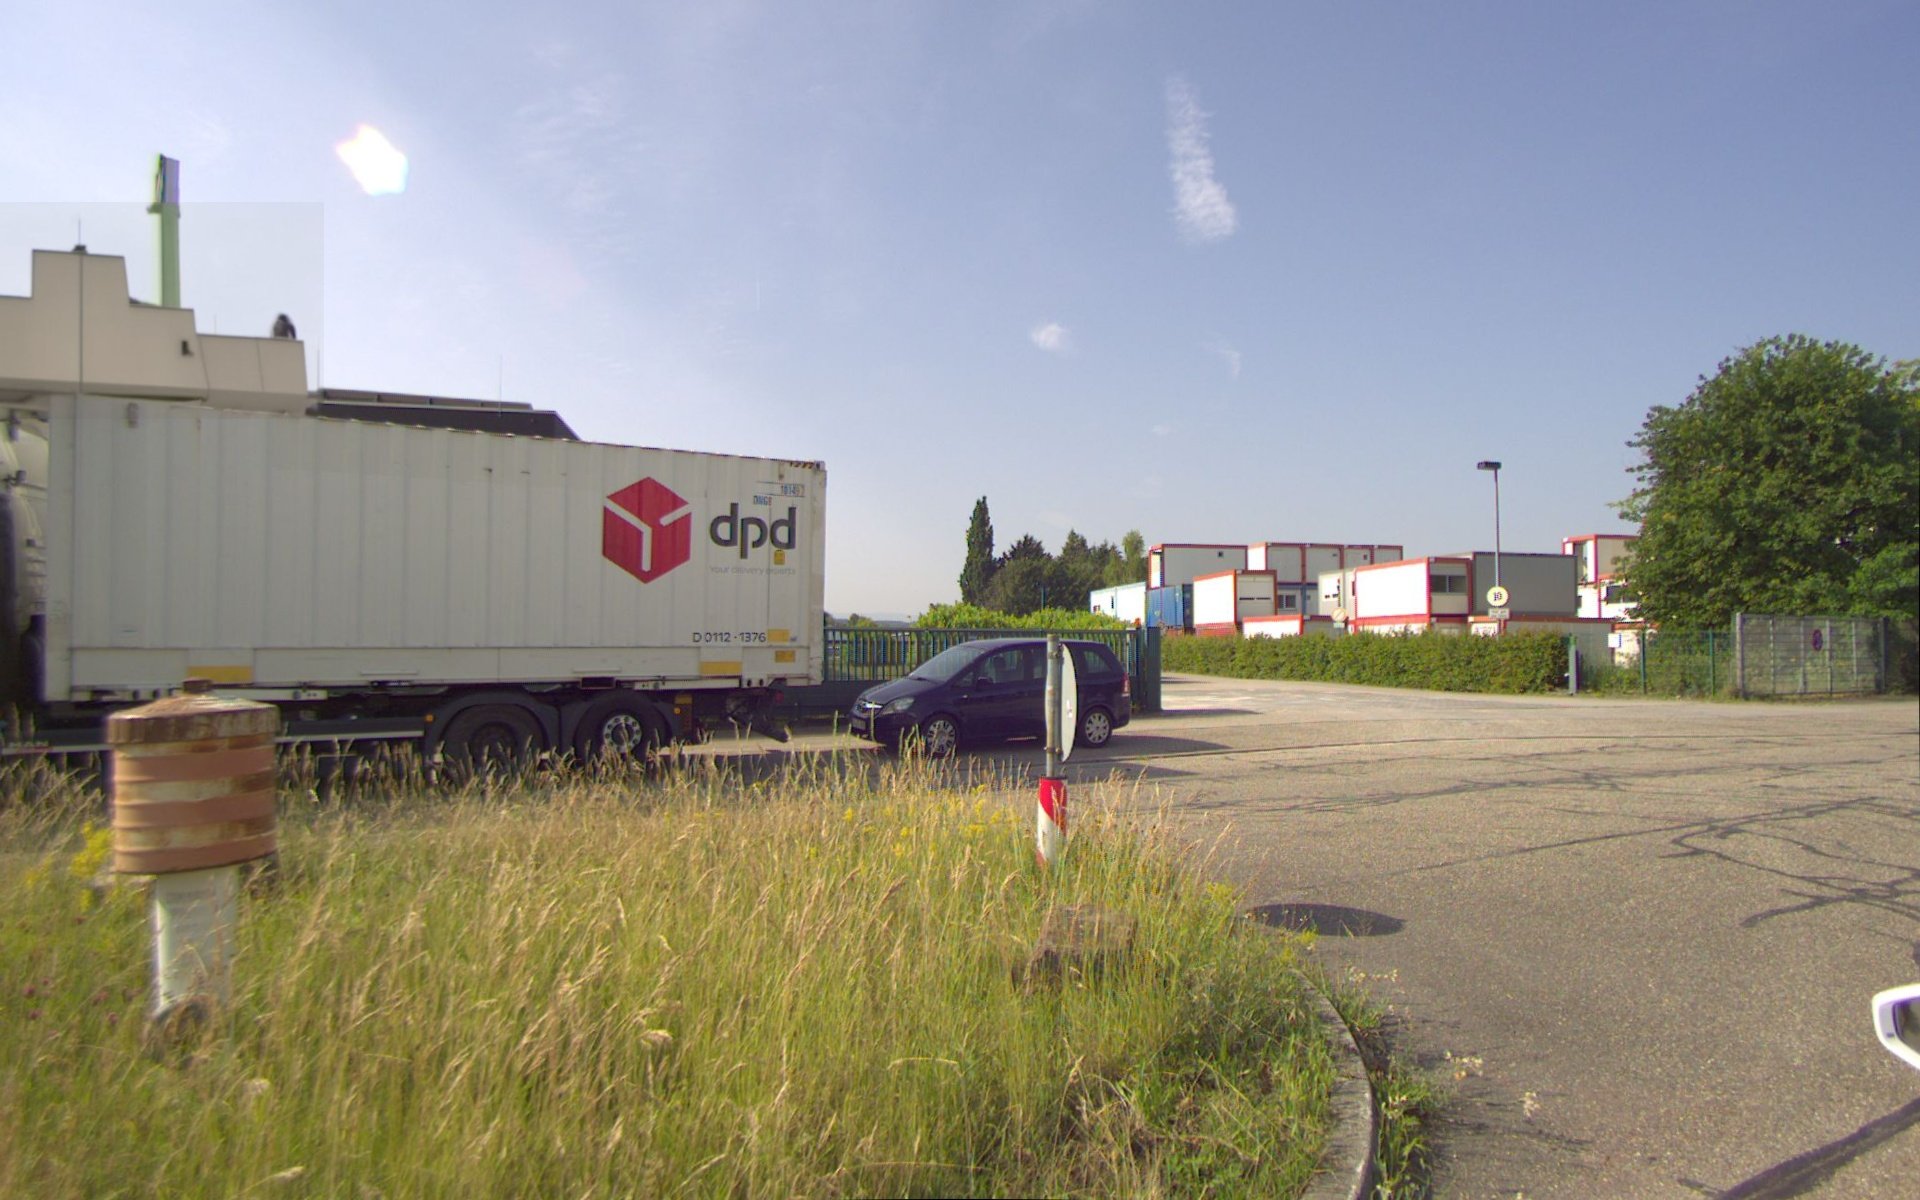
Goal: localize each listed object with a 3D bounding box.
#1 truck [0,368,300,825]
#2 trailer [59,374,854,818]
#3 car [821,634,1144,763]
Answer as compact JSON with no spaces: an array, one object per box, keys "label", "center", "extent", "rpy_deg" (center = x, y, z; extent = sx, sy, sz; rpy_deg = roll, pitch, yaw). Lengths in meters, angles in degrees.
[{"label":"truck","center":[-9.227,-0.035,9.809],"extent":[4.244,3.973,2.698],"rpy_deg":[3,-1,-28]},{"label":"trailer","center":[-5.300,0.125,11.964],"extent":[7.482,3.973,2.688],"rpy_deg":[3,-1,-29]},{"label":"car","center":[0.390,1.376,15.218],"extent":[4.533,1.662,1.984],"rpy_deg":[1,-1,-30]}]
